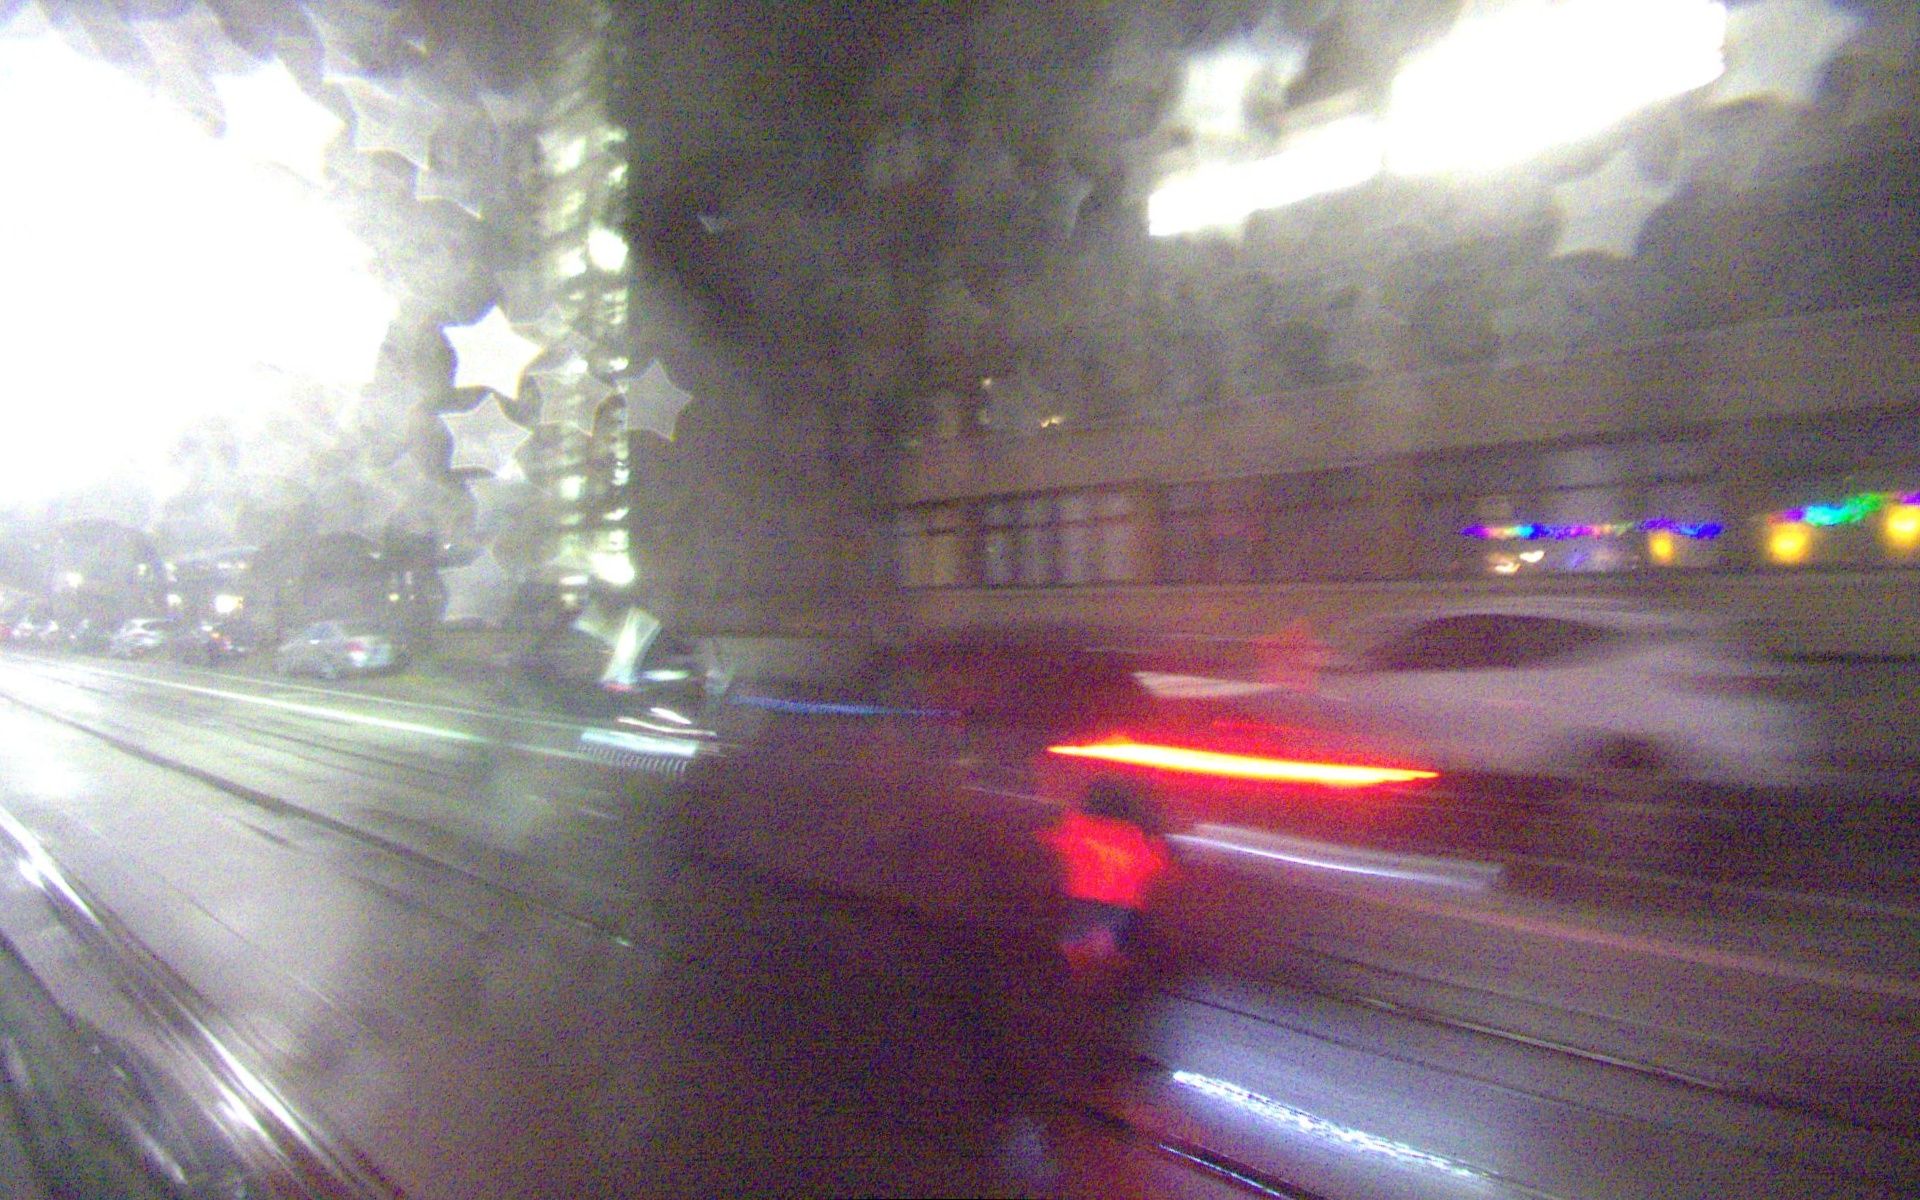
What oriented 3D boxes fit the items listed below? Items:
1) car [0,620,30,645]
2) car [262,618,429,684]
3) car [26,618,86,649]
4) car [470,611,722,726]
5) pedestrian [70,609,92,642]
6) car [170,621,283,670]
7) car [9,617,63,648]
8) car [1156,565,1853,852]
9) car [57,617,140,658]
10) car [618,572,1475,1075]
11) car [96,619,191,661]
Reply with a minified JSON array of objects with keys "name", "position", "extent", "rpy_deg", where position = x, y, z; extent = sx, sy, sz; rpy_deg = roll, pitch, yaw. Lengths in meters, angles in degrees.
[{"name":"car","position":[-60.674,2.048,64.458],"extent":[3.948,1.467,1.701],"rpy_deg":[-1,0,40]},{"name":"car","position":[-15.440,1.208,25.343],"extent":[4.951,1.474,1.870],"rpy_deg":[-1,-1,37]},{"name":"car","position":[-46.125,1.690,51.609],"extent":[4.624,1.449,1.713],"rpy_deg":[-1,0,41]},{"name":"car","position":[-6.152,1.029,16.909],"extent":[4.393,1.556,1.863],"rpy_deg":[-1,3,38]},{"name":"pedestrian","position":[-51.833,1.485,59.673],"extent":[1.290,1.916,0.784],"rpy_deg":[-1,0,41]},{"name":"car","position":[-23.225,1.390,32.007],"extent":[4.203,1.434,1.822],"rpy_deg":[-1,-1,38]},{"name":"car","position":[-53.864,1.863,58.959],"extent":[4.351,1.590,1.791],"rpy_deg":[-1,2,41]},{"name":"car","position":[4.038,0.633,8.037],"extent":[4.514,1.643,1.963],"rpy_deg":[-1,0,41]},{"name":"car","position":[-38.874,1.646,45.642],"extent":[4.586,1.631,2.122],"rpy_deg":[0,2,41]},{"name":"car","position":[0.146,0.711,5.097],"extent":[4.049,1.529,1.757],"rpy_deg":[-1,-1,41]},{"name":"car","position":[-30.636,1.456,37.931],"extent":[4.601,1.451,1.756],"rpy_deg":[-1,-1,38]}]
